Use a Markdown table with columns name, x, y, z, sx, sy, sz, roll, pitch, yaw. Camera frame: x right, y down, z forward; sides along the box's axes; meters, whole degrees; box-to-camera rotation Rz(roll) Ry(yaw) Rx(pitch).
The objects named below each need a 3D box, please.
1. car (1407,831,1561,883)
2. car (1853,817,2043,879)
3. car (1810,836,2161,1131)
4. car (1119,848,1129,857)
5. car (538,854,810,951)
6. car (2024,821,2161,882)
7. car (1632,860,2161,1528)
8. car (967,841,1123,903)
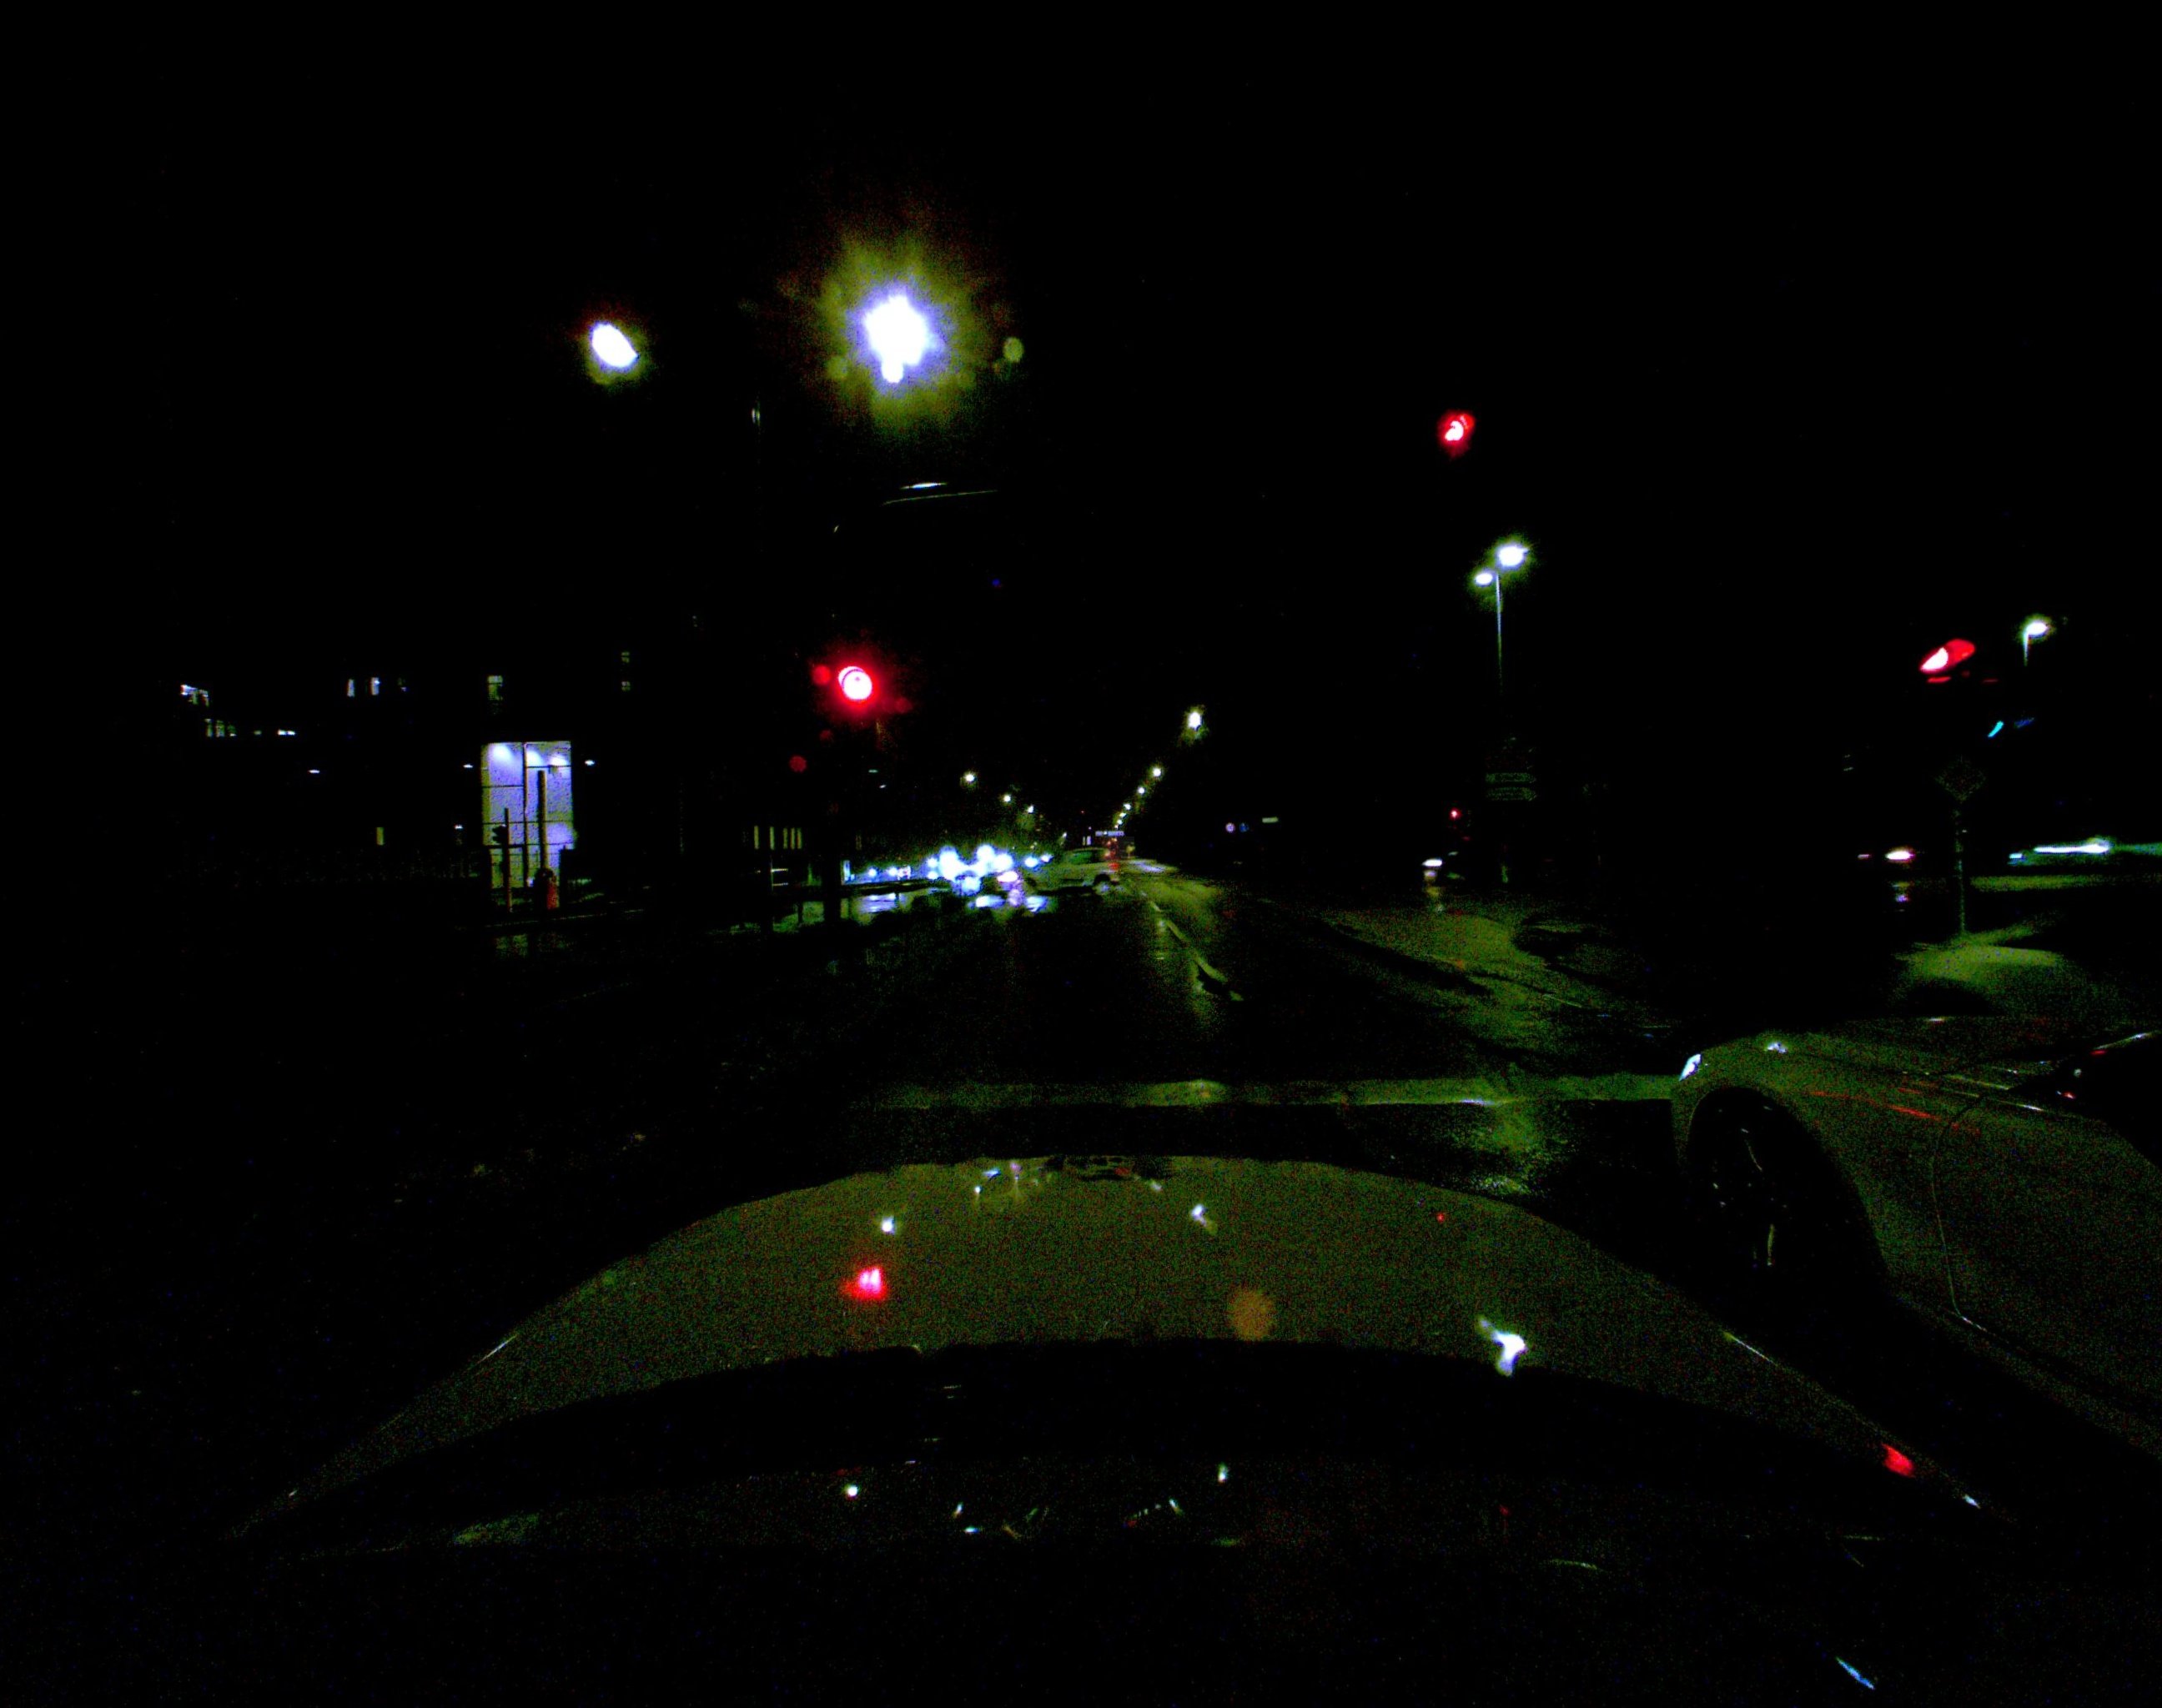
| name | x | y | z | sx | sy | sz | roll | pitch | yaw |
| --- | --- | --- | --- | --- | --- | --- | --- | --- | --- |
| car | 14.019 | 0.111 | 28.521 | 4.473 | 1.749 | 1.861 | 0 | -1 | 3 |
| car | 29.126 | -0.169 | 27.500 | 4.044 | 1.588 | 1.916 | 6 | -3 | 10 |
| car | 6.154 | 0.635 | 4.204 | 1.627 | 1.459 | 3.595 | 0 | -1 | 2 |
| car | 8.929 | -0.361 | 167.757 | 1.986 | 1.759 | 4.001 | 0 | -1 | 2 |
| car | -8.361 | 0.898 | 17.307 | 1.946 | 1.741 | 4.948 | -1 | -1 | 28 |
| car | 38.395 | -0.083 | 29.852 | 4.887 | 2.145 | 2.145 | 0 | -1 | 5 |
| car | 3.125 | 0.716 | 1.259 | 1.710 | 1.404 | 4.351 | 0 | -1 | 2 |
| car | -1.085 | 0.494 | 24.939 | 4.409 | 1.741 | 1.892 | -1 | 0 | -29 |
